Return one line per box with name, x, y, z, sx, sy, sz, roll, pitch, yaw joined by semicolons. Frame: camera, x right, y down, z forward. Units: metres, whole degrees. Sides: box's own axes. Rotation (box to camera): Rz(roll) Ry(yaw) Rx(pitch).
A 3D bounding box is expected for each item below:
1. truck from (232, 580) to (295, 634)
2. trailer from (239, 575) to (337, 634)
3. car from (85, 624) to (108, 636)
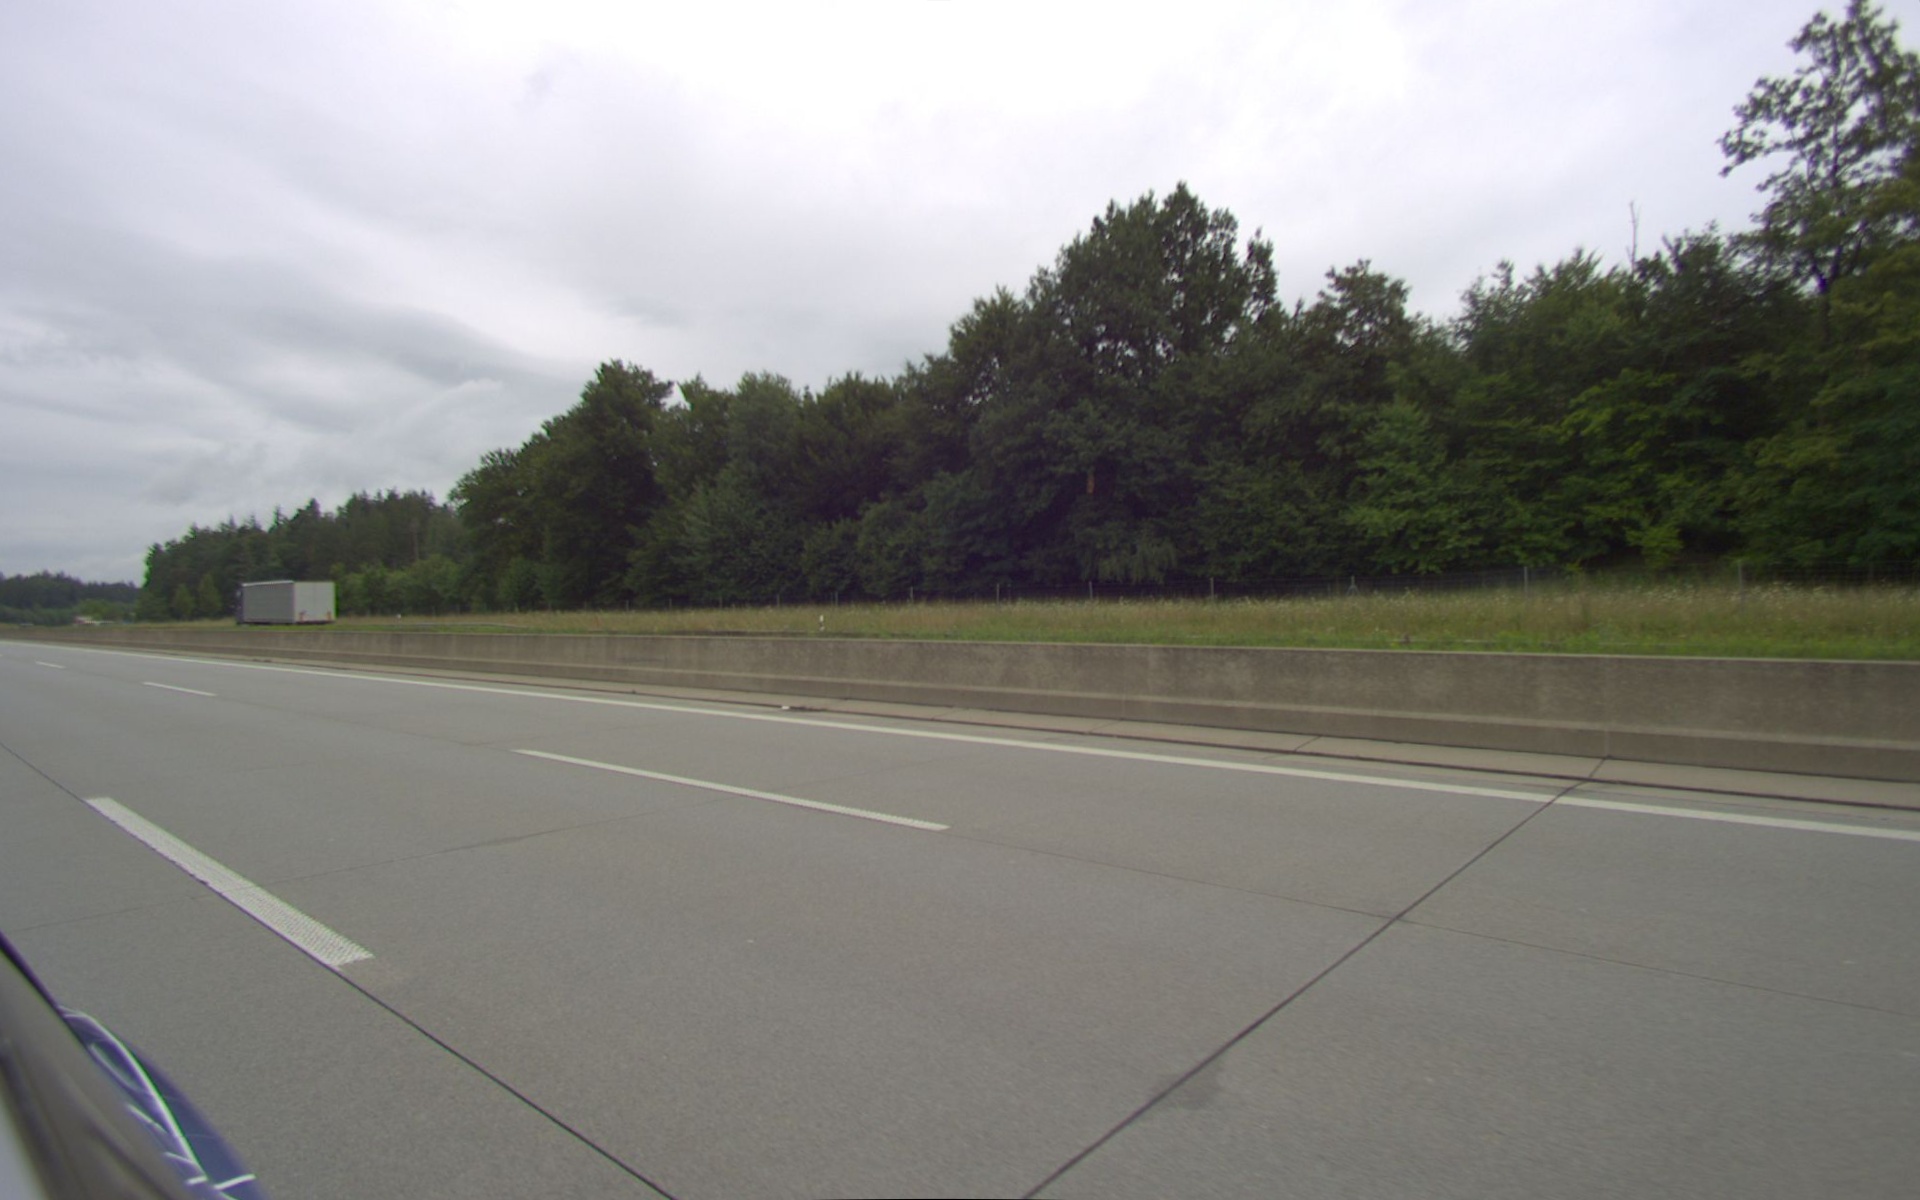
truck;-55.065;0.571;79.938;6.082;4.058;2.773;-2;-1;42
trailer;-50.481;0.435;75.753;13.985;4.050;2.780;-2;-1;42
car;-122.669;4.265;143.690;4.151;1.642;1.972;-2;-1;42
